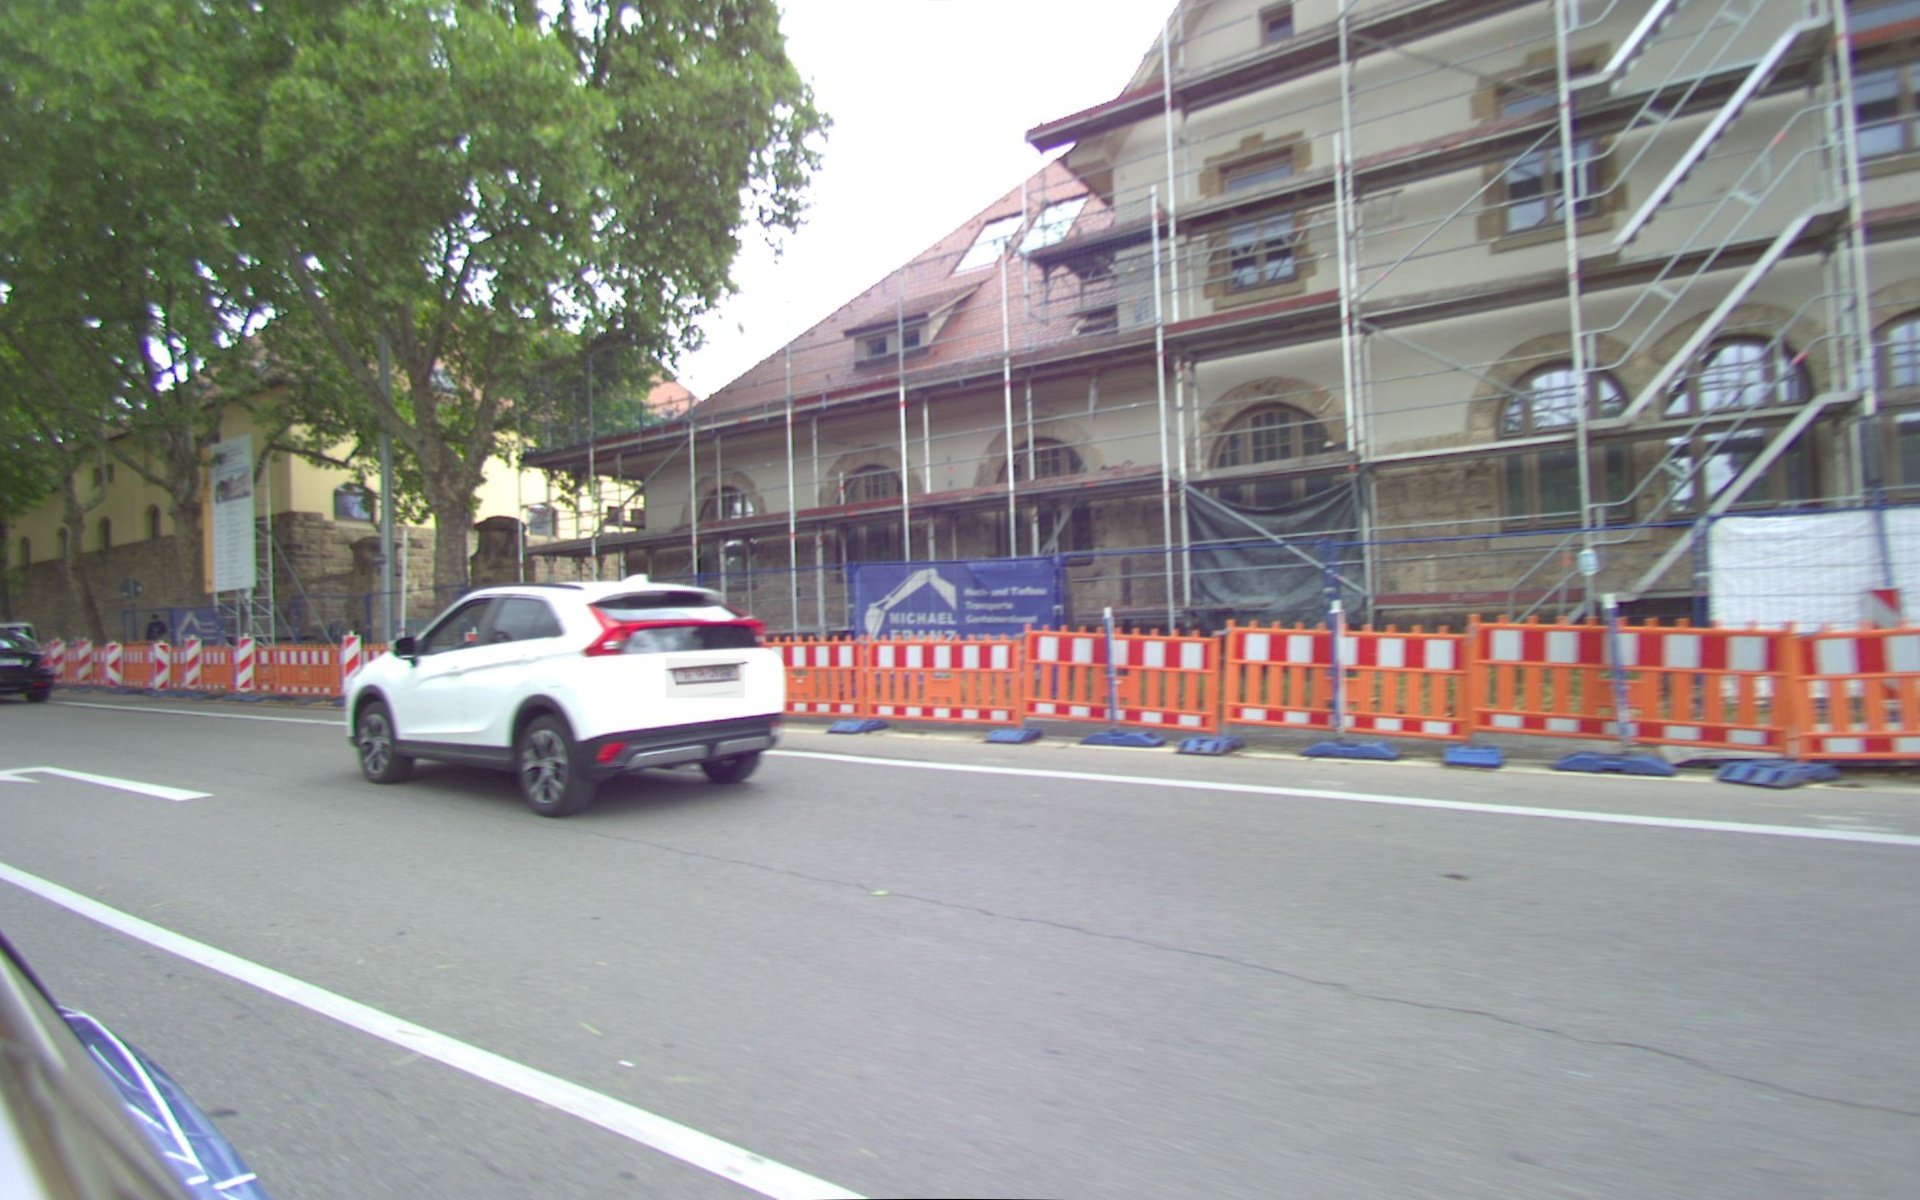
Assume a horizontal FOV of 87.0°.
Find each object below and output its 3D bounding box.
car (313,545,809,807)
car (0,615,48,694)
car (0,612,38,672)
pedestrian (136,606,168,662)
[{"bbox_3d":[-3.470,0.522,8.372,4.501,1.623,1.774,-2,-1,38],"label":"car"},{"bbox_3d":[-20.603,1.102,20.730,4.837,1.483,1.786,-1,0,35],"label":"car"},{"bbox_3d":[-32.386,1.373,33.430,4.403,1.890,1.819,-1,-2,33],"label":"car"},{"bbox_3d":[-26.750,1.103,33.511,0.740,1.813,0.588,-1,1,33],"label":"pedestrian"}]
